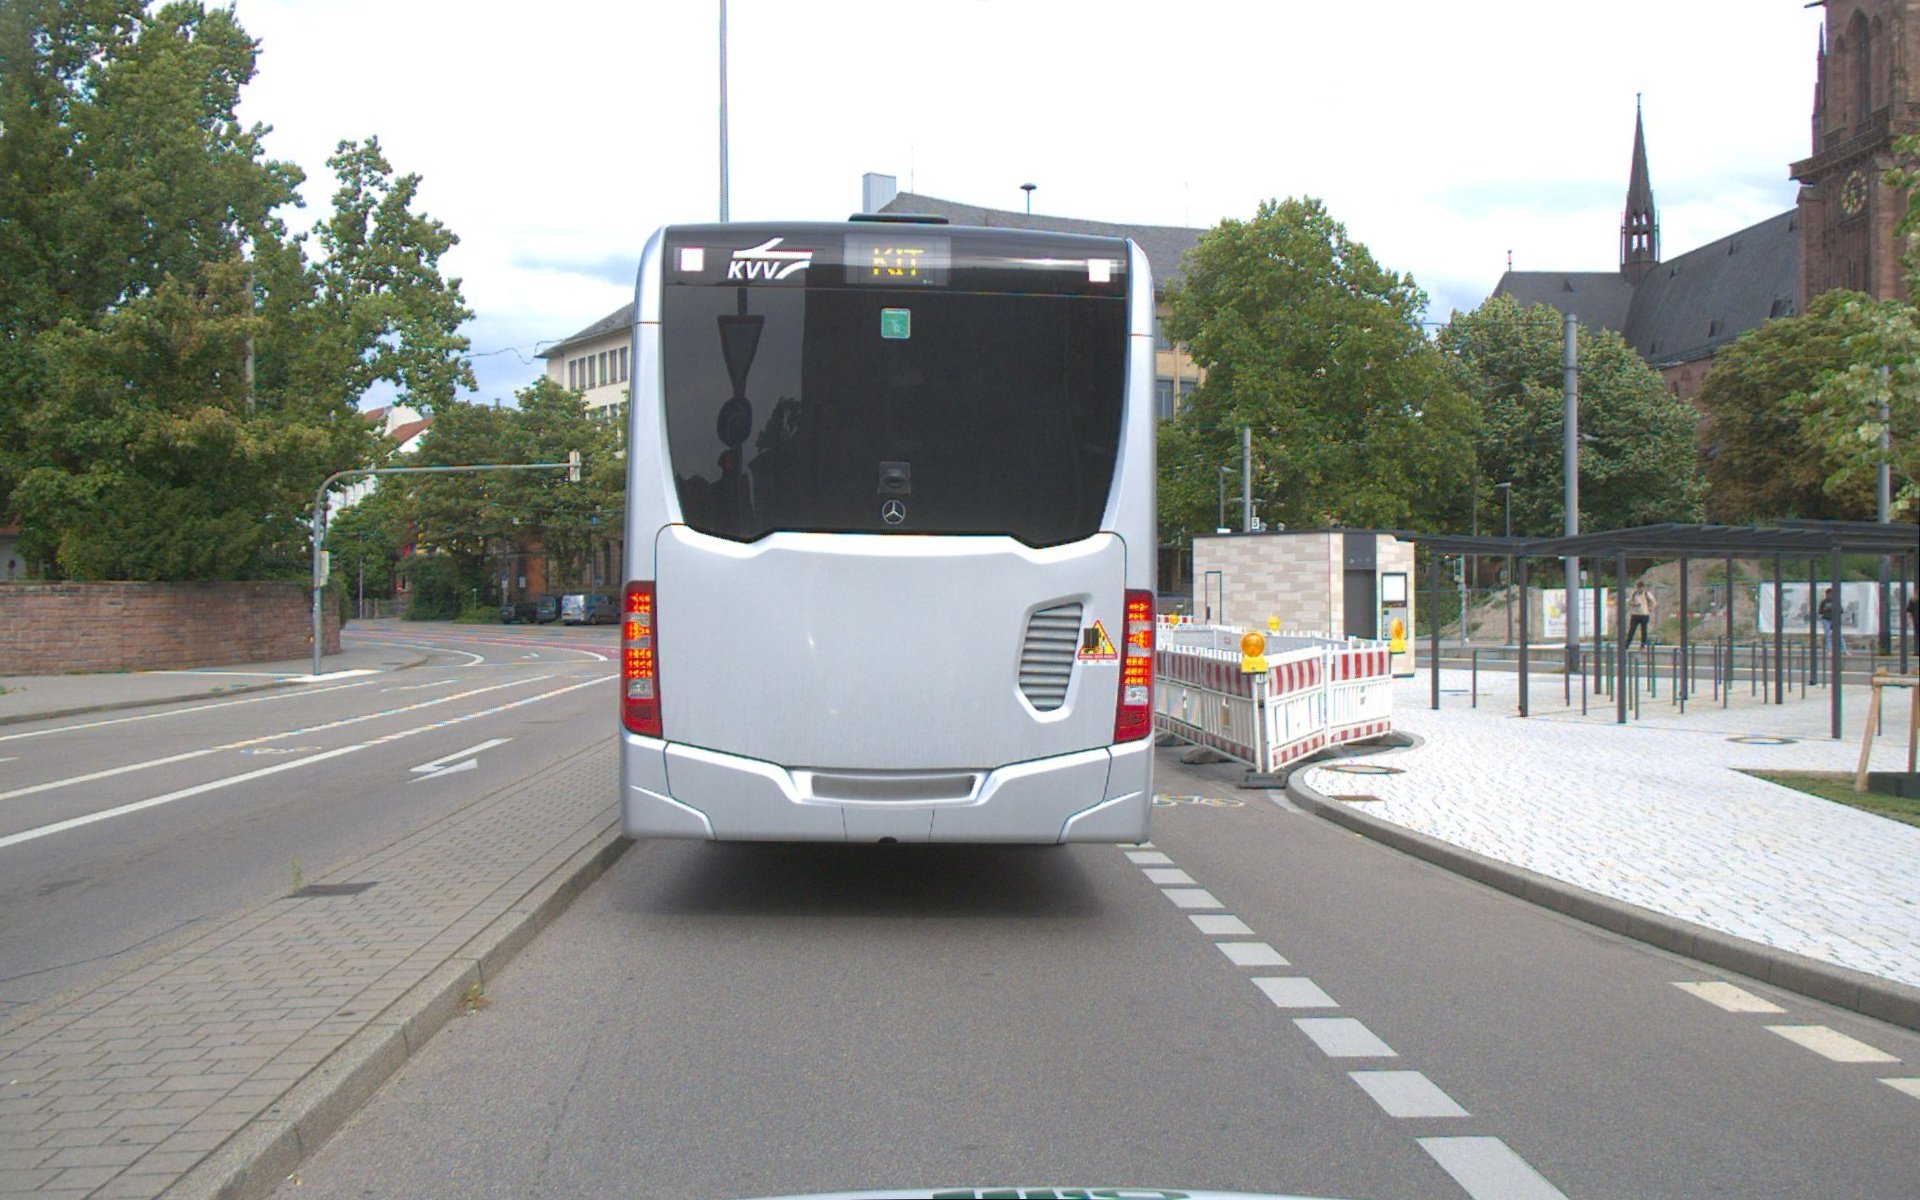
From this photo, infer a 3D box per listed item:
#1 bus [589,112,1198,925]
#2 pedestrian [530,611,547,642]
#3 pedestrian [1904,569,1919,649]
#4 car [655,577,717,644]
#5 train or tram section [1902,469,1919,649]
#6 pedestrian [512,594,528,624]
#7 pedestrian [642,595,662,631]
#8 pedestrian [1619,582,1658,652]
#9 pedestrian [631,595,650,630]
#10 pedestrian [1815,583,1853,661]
[{"bbox_3d":[-0.793,-0.274,14.292,2.651,3.498,14.170,0,-1,-4],"label":"bus"},{"bbox_3d":[-27.923,1.761,109.539,0.877,2.049,0.999,0,0,-29],"label":"pedestrian"},{"bbox_3d":[22.307,0.204,38.283,0.519,1.832,0.667,-2,3,-45],"label":"pedestrian"},{"bbox_3d":[-9.226,0.303,55.761,1.957,2.048,3.992,0,2,-10],"label":"car"},{"bbox_3d":[21.681,-0.664,28.311,3.031,3.334,9.245,-2,3,-37],"label":"train or tram section"},{"bbox_3d":[-30.108,0.617,113.198,0.877,2.049,0.999,0,0,-29],"label":"pedestrian"},{"bbox_3d":[-17.793,0.766,95.504,0.877,2.049,0.999,0,0,-29],"label":"pedestrian"},{"bbox_3d":[18.070,0.450,44.058,0.803,1.832,0.753,0,2,9],"label":"pedestrian"},{"bbox_3d":[-19.021,0.731,98.527,0.877,2.049,0.999,0,0,-29],"label":"pedestrian"},{"bbox_3d":[21.008,0.528,39.776,0.519,1.832,0.667,-2,3,-45],"label":"pedestrian"}]
